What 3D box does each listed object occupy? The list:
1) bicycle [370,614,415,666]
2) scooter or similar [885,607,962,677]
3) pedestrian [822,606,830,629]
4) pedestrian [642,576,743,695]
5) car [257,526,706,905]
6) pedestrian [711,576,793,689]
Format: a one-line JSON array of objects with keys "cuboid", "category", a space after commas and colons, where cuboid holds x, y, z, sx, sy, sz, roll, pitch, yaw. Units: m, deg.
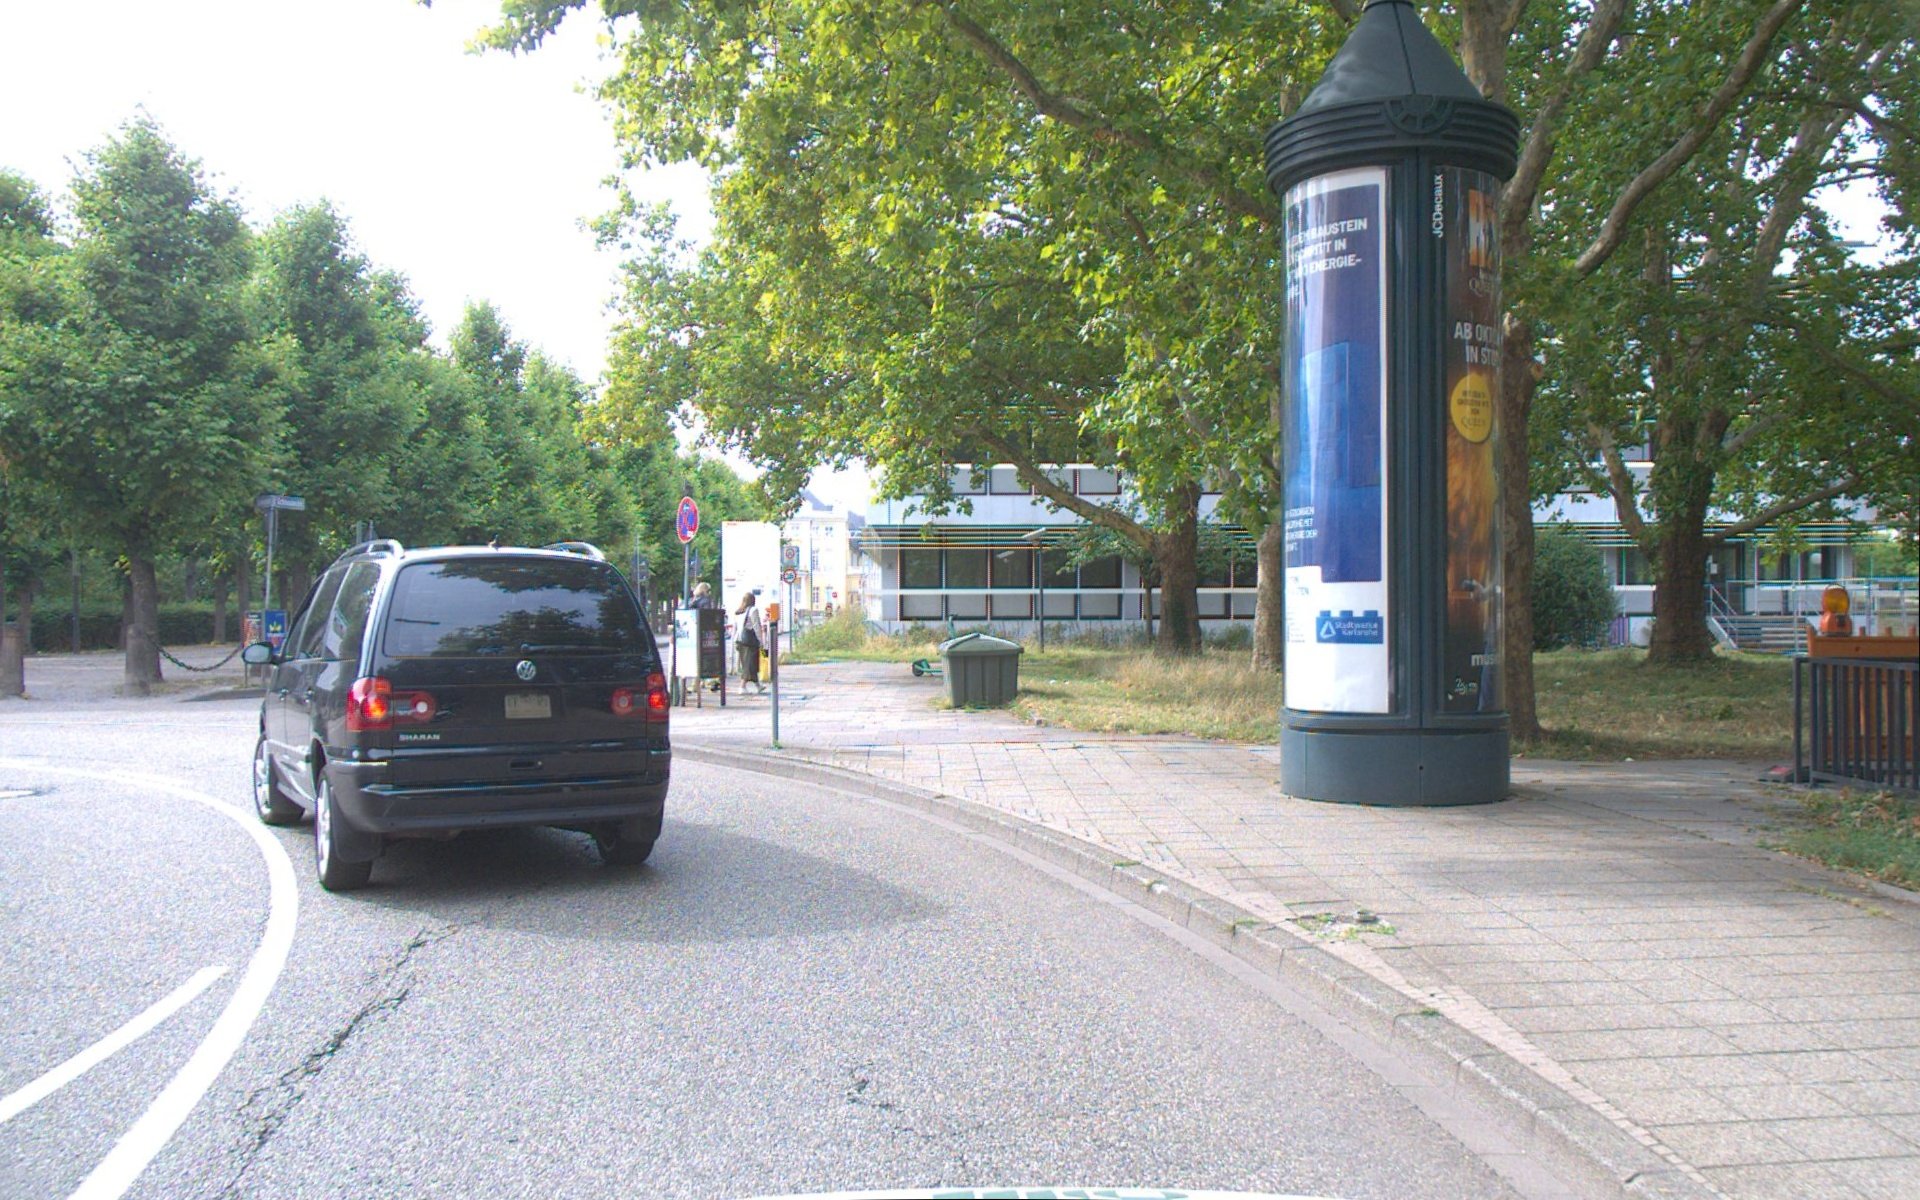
[{"cuboid": [-13.396, 0.923, 39.111, 0.937, 1.129, 2.566, 1, 0, -18], "category": "bicycle"}, {"cuboid": [-0.713, 0.803, 31.781, 1.422, 1.291, 0.569, 1, 0, -6], "category": "scooter or similar"}, {"cuboid": [-10.069, 1.310, 123.924, 0.451, 1.653, 0.629, 1, 0, -15], "category": "pedestrian"}, {"cuboid": [-4.096, 0.531, 25.401, 0.942, 1.772, 1.254, 1, 0, 28], "category": "pedestrian"}, {"cuboid": [-3.033, 0.526, 9.827, 1.773, 1.738, 4.093, 0, 0, -28], "category": "car"}, {"cuboid": [-3.176, 0.483, 25.235, 0.880, 1.670, 0.850, 1, 0, 33], "category": "pedestrian"}]
